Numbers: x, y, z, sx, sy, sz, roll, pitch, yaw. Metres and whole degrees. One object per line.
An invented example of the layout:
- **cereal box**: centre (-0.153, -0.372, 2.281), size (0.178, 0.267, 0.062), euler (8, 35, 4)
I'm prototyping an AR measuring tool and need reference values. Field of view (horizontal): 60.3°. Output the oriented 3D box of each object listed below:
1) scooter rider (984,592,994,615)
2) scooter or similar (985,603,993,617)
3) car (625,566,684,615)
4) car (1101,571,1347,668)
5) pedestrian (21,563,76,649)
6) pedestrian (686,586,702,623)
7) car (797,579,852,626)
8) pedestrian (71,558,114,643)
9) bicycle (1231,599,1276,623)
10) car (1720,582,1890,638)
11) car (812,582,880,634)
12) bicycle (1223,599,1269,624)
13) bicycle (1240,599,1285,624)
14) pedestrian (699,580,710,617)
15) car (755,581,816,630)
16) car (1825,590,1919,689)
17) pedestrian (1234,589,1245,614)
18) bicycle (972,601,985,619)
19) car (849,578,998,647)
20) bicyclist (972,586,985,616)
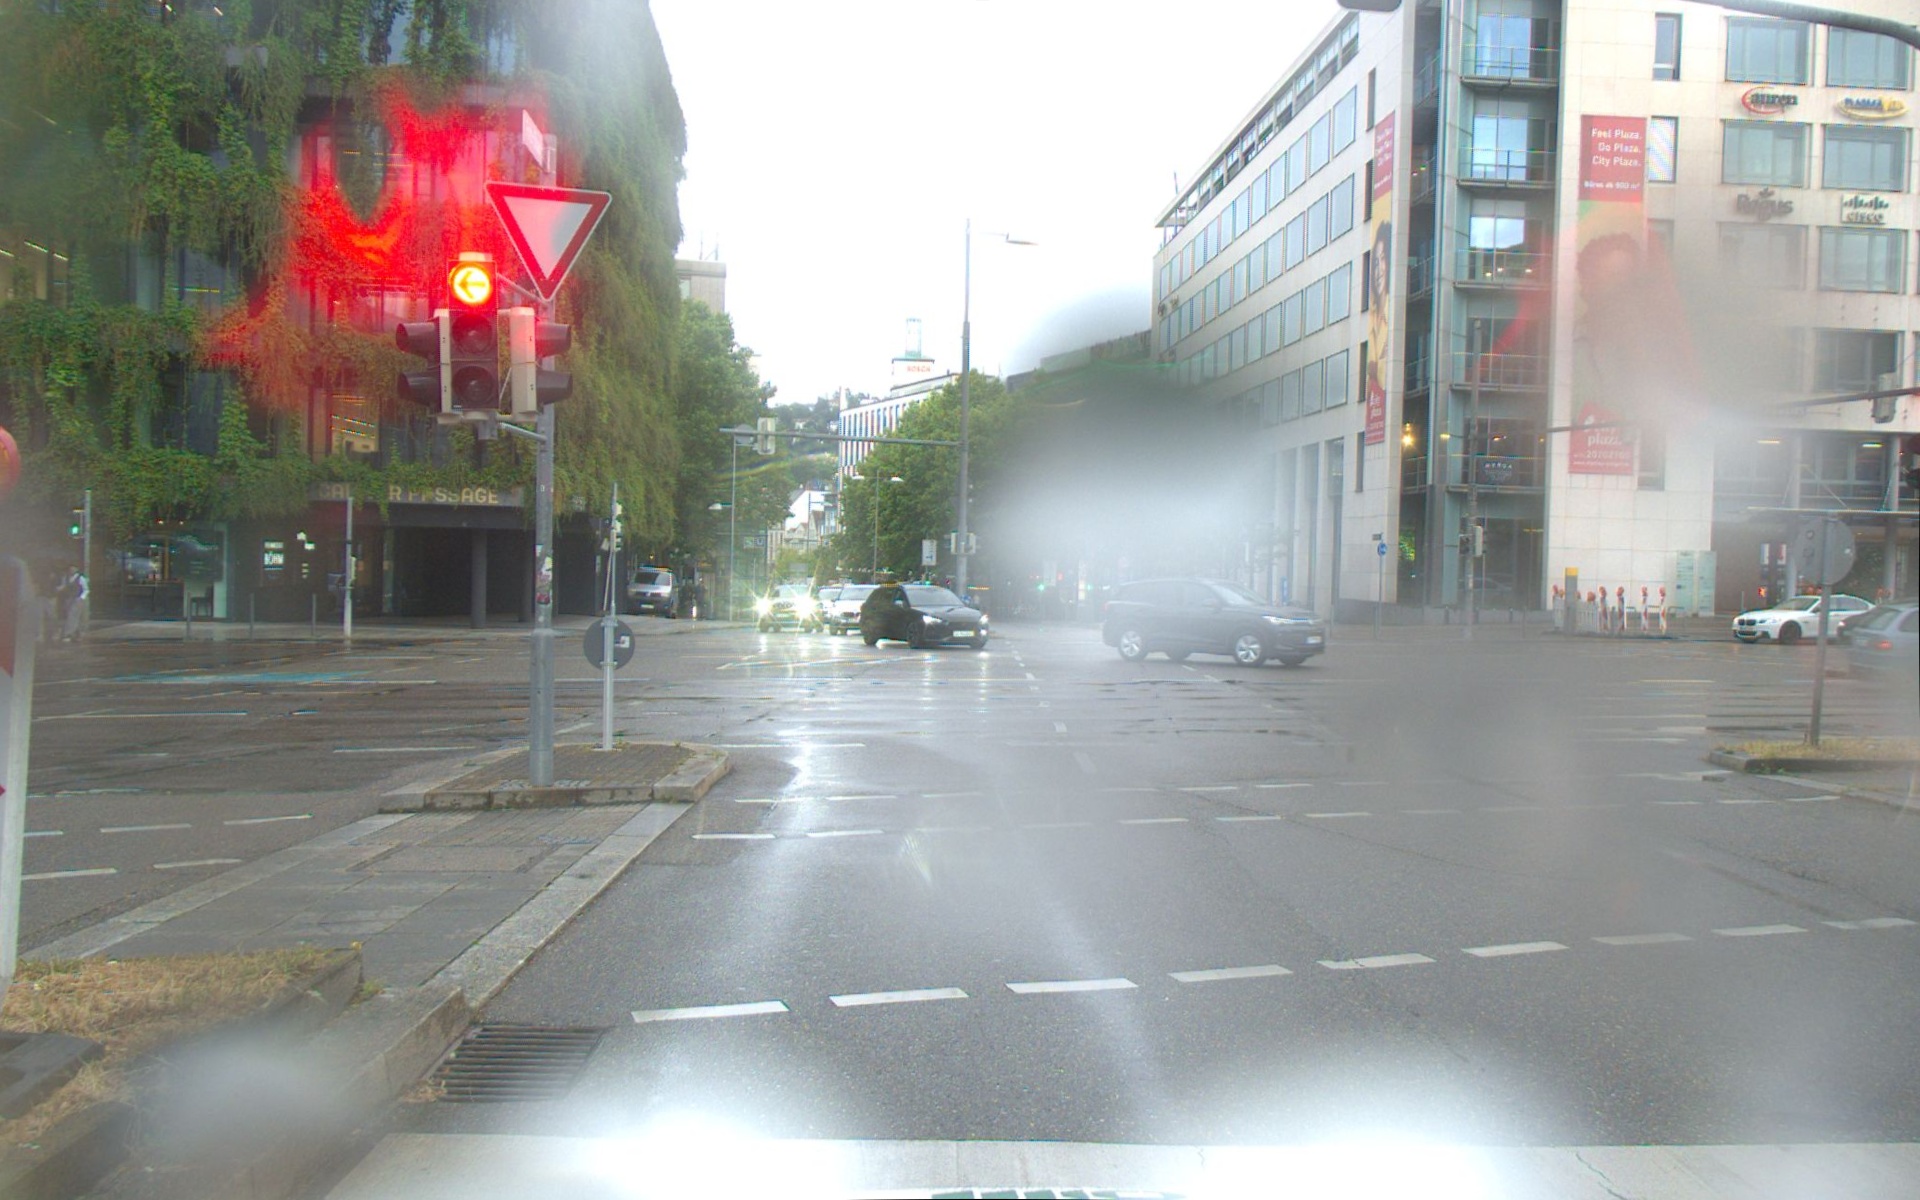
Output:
- **scooter rider**: centre (2.236, 0.270, 128.468), size (0.746, 1.805, 0.796), euler (1, 0, -1)
- **scooter or similar**: centre (2.261, 0.786, 128.568), size (0.545, 1.024, 1.824), euler (1, 0, 0)
- **car**: centre (-12.532, -0.391, 68.124), size (1.955, 1.928, 4.460), euler (1, 0, -5)
- **car**: centre (4.997, 0.313, 31.635), size (4.284, 1.684, 1.960), euler (1, 2, 41)
- **pedestrian**: centre (-19.345, 0.125, 35.127), size (0.923, 1.788, 1.163), euler (0, 0, -24)
- **pedestrian**: centre (-11.203, 0.189, 69.648), size (0.595, 1.550, 0.587), euler (1, 0, -5)
- **car**: centre (-5.650, 0.072, 68.699), size (2.133, 1.855, 4.637), euler (1, 0, -7)
- **pedestrian**: centre (-18.618, 0.008, 35.512), size (0.731, 1.788, 0.969), euler (0, 0, -24)
- **bicycle**: centre (11.716, 0.435, 66.008), size (1.767, 0.950, 0.473), euler (1, 0, 41)
- **car**: centre (25.372, 0.297, 49.680), size (4.378, 1.626, 1.992), euler (0, 0, -16)
- **car**: centre (-3.556, 0.219, 52.283), size (1.953, 1.468, 4.555), euler (0, 2, -2)
- **bicycle**: centre (11.143, 0.434, 64.391), size (1.767, 0.950, 0.473), euler (1, 0, 41)
- **bicycle**: centre (11.890, 0.436, 65.044), size (1.767, 0.950, 0.473), euler (1, 0, 41)
- **pedestrian**: centre (-10.771, -0.045, 69.683), size (0.428, 1.550, 0.547), euler (1, 0, -5)
- **car**: centre (-5.995, 0.167, 57.254), size (1.954, 1.626, 4.461), euler (1, 0, -5)
- **car**: centre (16.567, 0.624, 26.544), size (4.354, 1.512, 2.002), euler (0, 2, 11)
- **pedestrian**: centre (13.566, 0.070, 80.220), size (0.350, 1.194, 0.409), euler (0, 0, -36)
- **bicycle**: centre (1.243, 0.652, 111.089), size (0.775, 1.136, 2.255), euler (1, 0, -1)
- **car**: centre (-0.933, 0.240, 38.433), size (1.832, 1.473, 4.586), euler (0, 1, -24)
- **bicyclist**: centre (1.239, 0.064, 111.087), size (0.775, 2.009, 1.114), euler (1, 0, -2)
